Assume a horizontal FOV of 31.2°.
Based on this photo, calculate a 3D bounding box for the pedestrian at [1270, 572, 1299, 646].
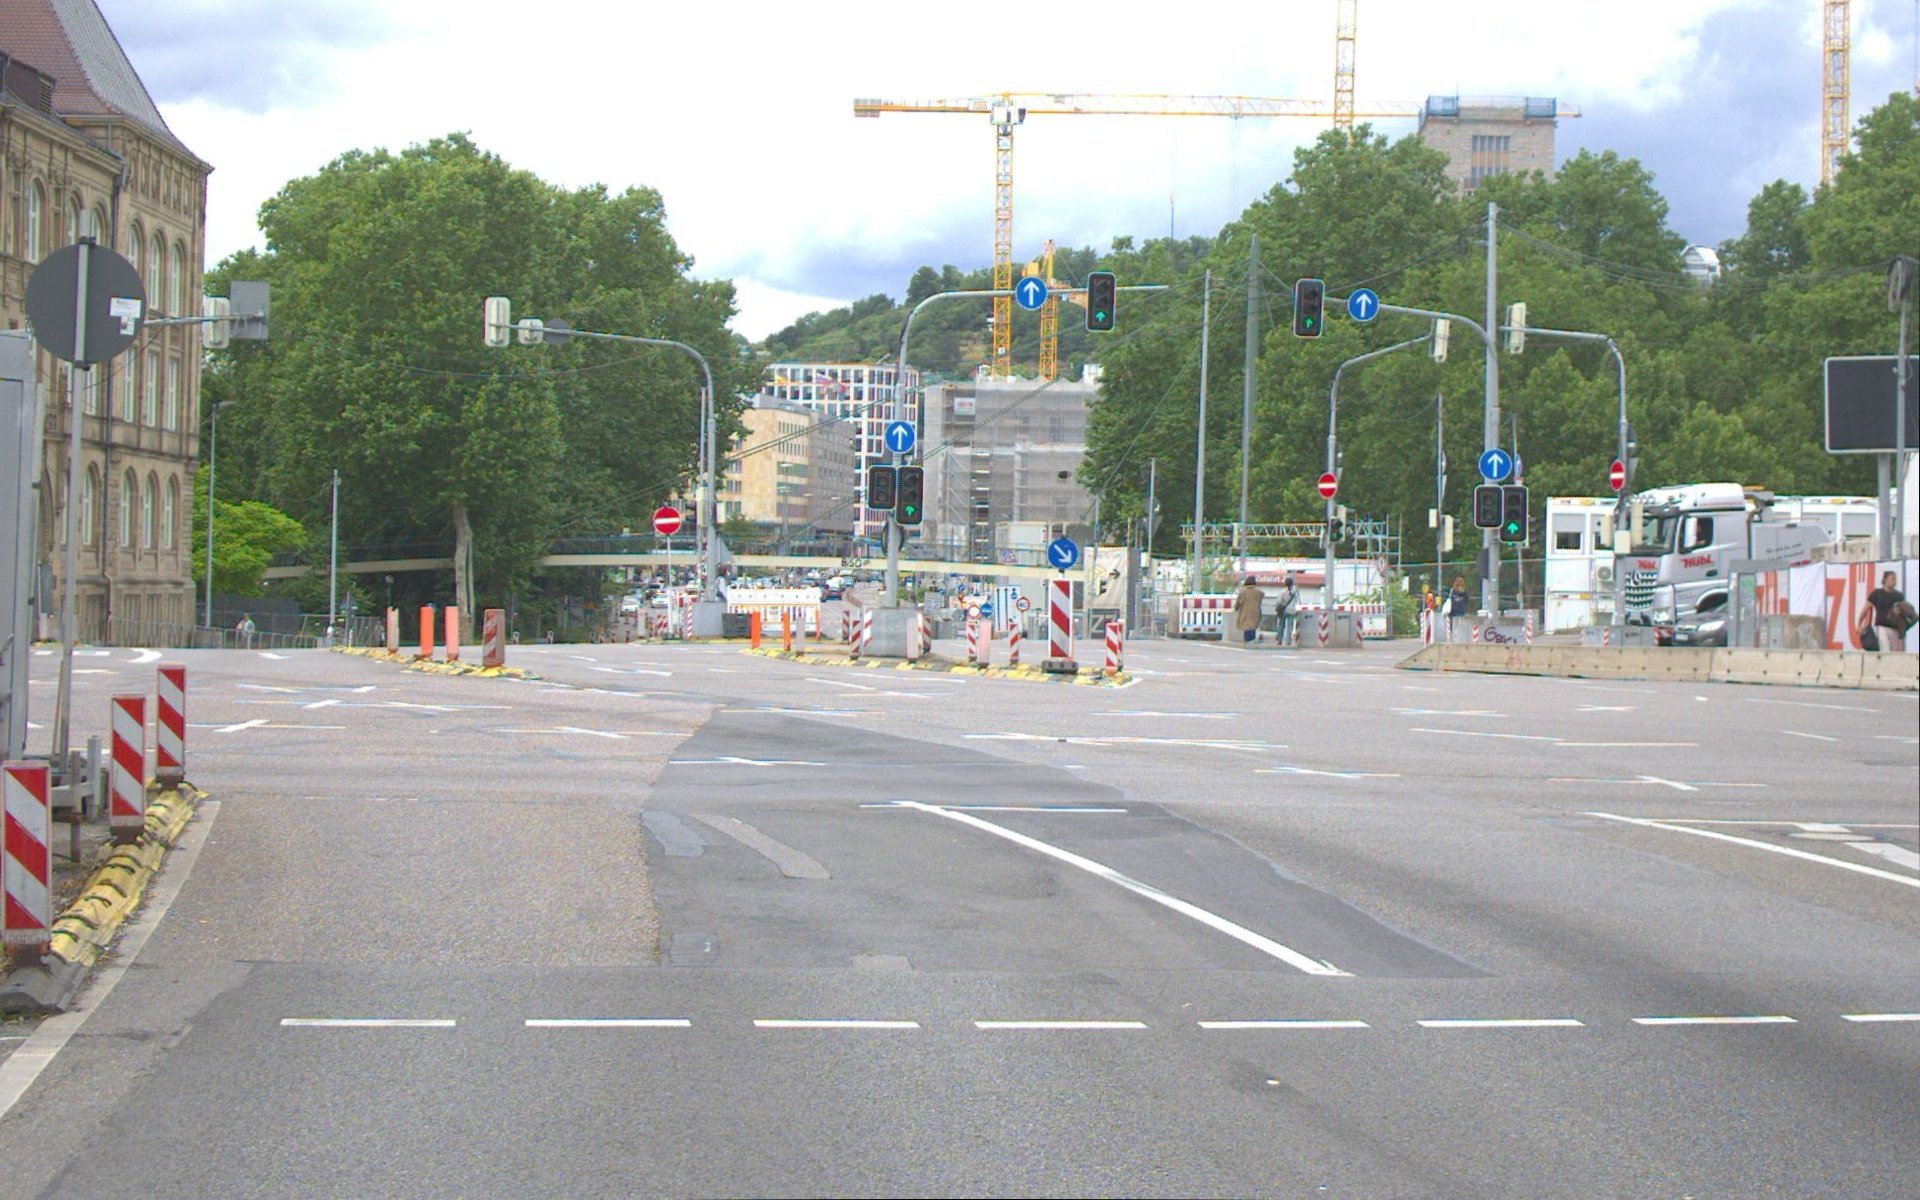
[{"bbox_3d":[7.531,0.207,79.806,0.566,1.683,0.472,1,1,-1],"label":"pedestrian"}]

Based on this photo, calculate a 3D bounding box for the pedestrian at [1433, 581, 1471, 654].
[{"bbox_3d":[11.566,0.414,80.810,0.622,1.683,0.710,2,1,29],"label":"pedestrian"}]

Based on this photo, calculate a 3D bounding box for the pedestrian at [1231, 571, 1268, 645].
[{"bbox_3d":[6.684,0.179,79.430,0.729,1.683,0.678,1,1,-1],"label":"pedestrian"}]

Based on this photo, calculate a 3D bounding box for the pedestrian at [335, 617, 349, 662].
[{"bbox_3d":[-28.450,1.818,158.299,0.524,2.007,0.567,1,1,0],"label":"pedestrian"}]

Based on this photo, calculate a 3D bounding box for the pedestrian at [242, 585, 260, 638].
[{"bbox_3d":[-27.086,0.450,131.340,0.524,2.007,0.567,1,1,0],"label":"pedestrian"}]

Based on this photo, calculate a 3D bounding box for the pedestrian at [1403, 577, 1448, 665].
[{"bbox_3d":[9.133,0.412,67.497,0.729,1.683,0.678,1,1,-1],"label":"pedestrian"}]

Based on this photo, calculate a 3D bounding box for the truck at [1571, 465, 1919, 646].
[{"bbox_3d":[21.358,-0.998,82.003,13.022,4.027,3.952,1,1,-20],"label":"truck"}]

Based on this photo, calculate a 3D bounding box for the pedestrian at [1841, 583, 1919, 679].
[{"bbox_3d":[13.638,0.451,50.818,0.796,1.373,0.905,1,1,-18],"label":"pedestrian"}]
